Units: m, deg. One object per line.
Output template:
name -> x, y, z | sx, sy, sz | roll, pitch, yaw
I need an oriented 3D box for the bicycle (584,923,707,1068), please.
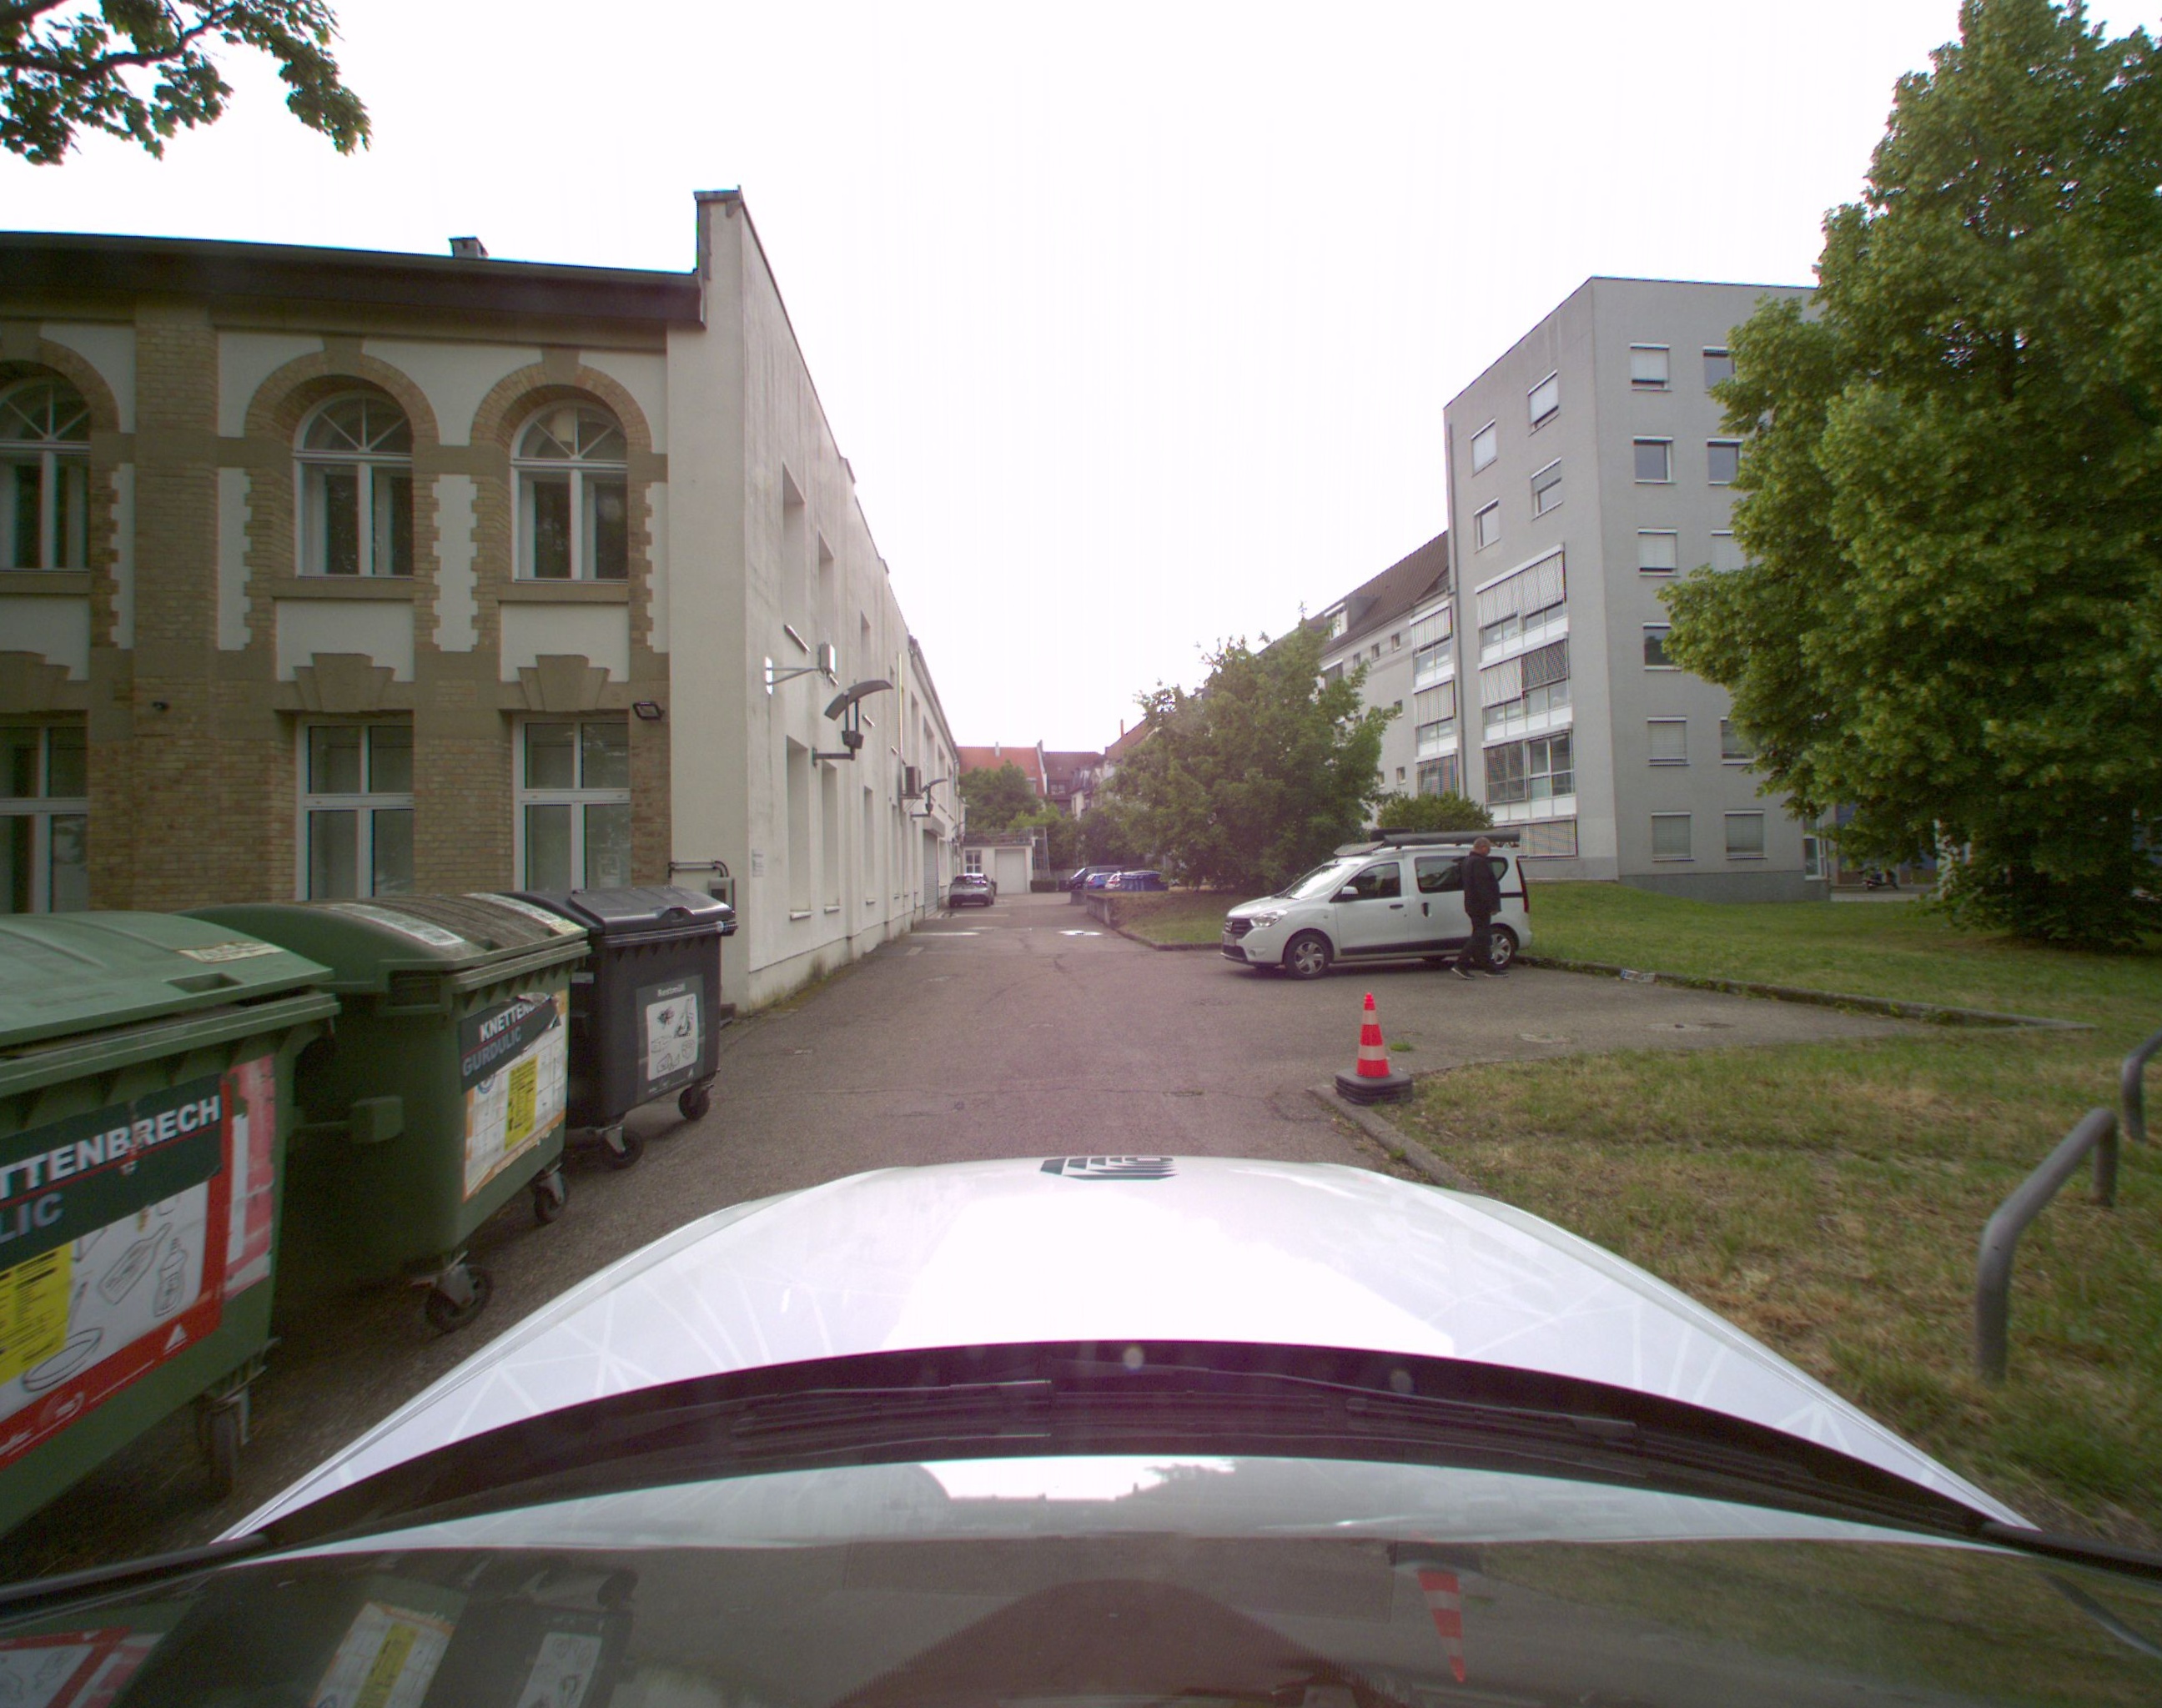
bicycle -> -4.014, 1.245, 7.638 | 0.394, 1.065, 1.823 | -2, -1, -8

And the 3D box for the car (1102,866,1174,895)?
car -> 3.481, 1.617, 50.092 | 3.996, 1.574, 1.989 | -1, -1, -17

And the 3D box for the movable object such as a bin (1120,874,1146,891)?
movable object such as a bin -> 2.171, 1.215, 34.378 | 0.963, 0.679, 0.869 | -2, -2, -5

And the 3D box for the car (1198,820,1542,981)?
car -> 4.106, 0.624, 11.878 | 4.339, 2.014, 1.847 | -1, -2, -11

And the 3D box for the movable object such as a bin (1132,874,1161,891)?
movable object such as a bin -> 2.519, 1.096, 31.305 | 0.963, 0.637, 0.909 | -2, -2, -5

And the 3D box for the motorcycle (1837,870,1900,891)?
motorcycle -> 37.039, 1.246, 38.282 | 3.196, 0.881, 0.955 | -1, -1, -23

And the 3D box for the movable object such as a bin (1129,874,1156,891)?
movable object such as a bin -> 2.448, 1.143, 32.482 | 0.963, 0.637, 0.909 | -2, -2, -5

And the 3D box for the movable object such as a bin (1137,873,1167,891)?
movable object such as a bin -> 2.606, 1.043, 29.965 | 0.963, 0.637, 0.909 | -2, -2, -5

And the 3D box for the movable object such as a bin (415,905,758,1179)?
movable object such as a bin -> -2.715, 0.970, 4.682 | 1.047, 1.265, 1.356 | -2, -1, 6

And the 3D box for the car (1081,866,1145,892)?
car -> 2.166, 1.687, 55.026 | 3.996, 1.574, 1.576 | -1, -1, -17

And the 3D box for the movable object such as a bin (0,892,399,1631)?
movable object such as a bin -> -2.498, 0.748, 1.737 | 1.053, 1.265, 1.349 | -1, -1, -11

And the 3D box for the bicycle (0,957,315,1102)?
bicycle -> -7.748, 1.408, 6.916 | 0.615, 0.813, 1.944 | -2, -1, 0

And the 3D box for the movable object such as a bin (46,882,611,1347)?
movable object such as a bin -> -2.602, 0.765, 3.109 | 1.054, 1.265, 1.347 | -1, -1, -15

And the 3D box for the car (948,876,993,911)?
car -> -5.056, 1.817, 37.827 | 1.845, 1.508, 3.992 | -2, -2, -5

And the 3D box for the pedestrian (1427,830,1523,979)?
pedestrian -> 5.038, 0.635, 10.454 | 0.754, 1.809, 0.695 | -2, -3, -10

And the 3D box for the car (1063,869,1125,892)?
car -> 0.943, 1.971, 60.572 | 4.192, 1.574, 1.989 | -1, -1, -17

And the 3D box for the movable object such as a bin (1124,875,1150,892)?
movable object such as a bin -> 2.294, 1.209, 33.520 | 0.963, 0.679, 0.809 | -2, -2, -5
